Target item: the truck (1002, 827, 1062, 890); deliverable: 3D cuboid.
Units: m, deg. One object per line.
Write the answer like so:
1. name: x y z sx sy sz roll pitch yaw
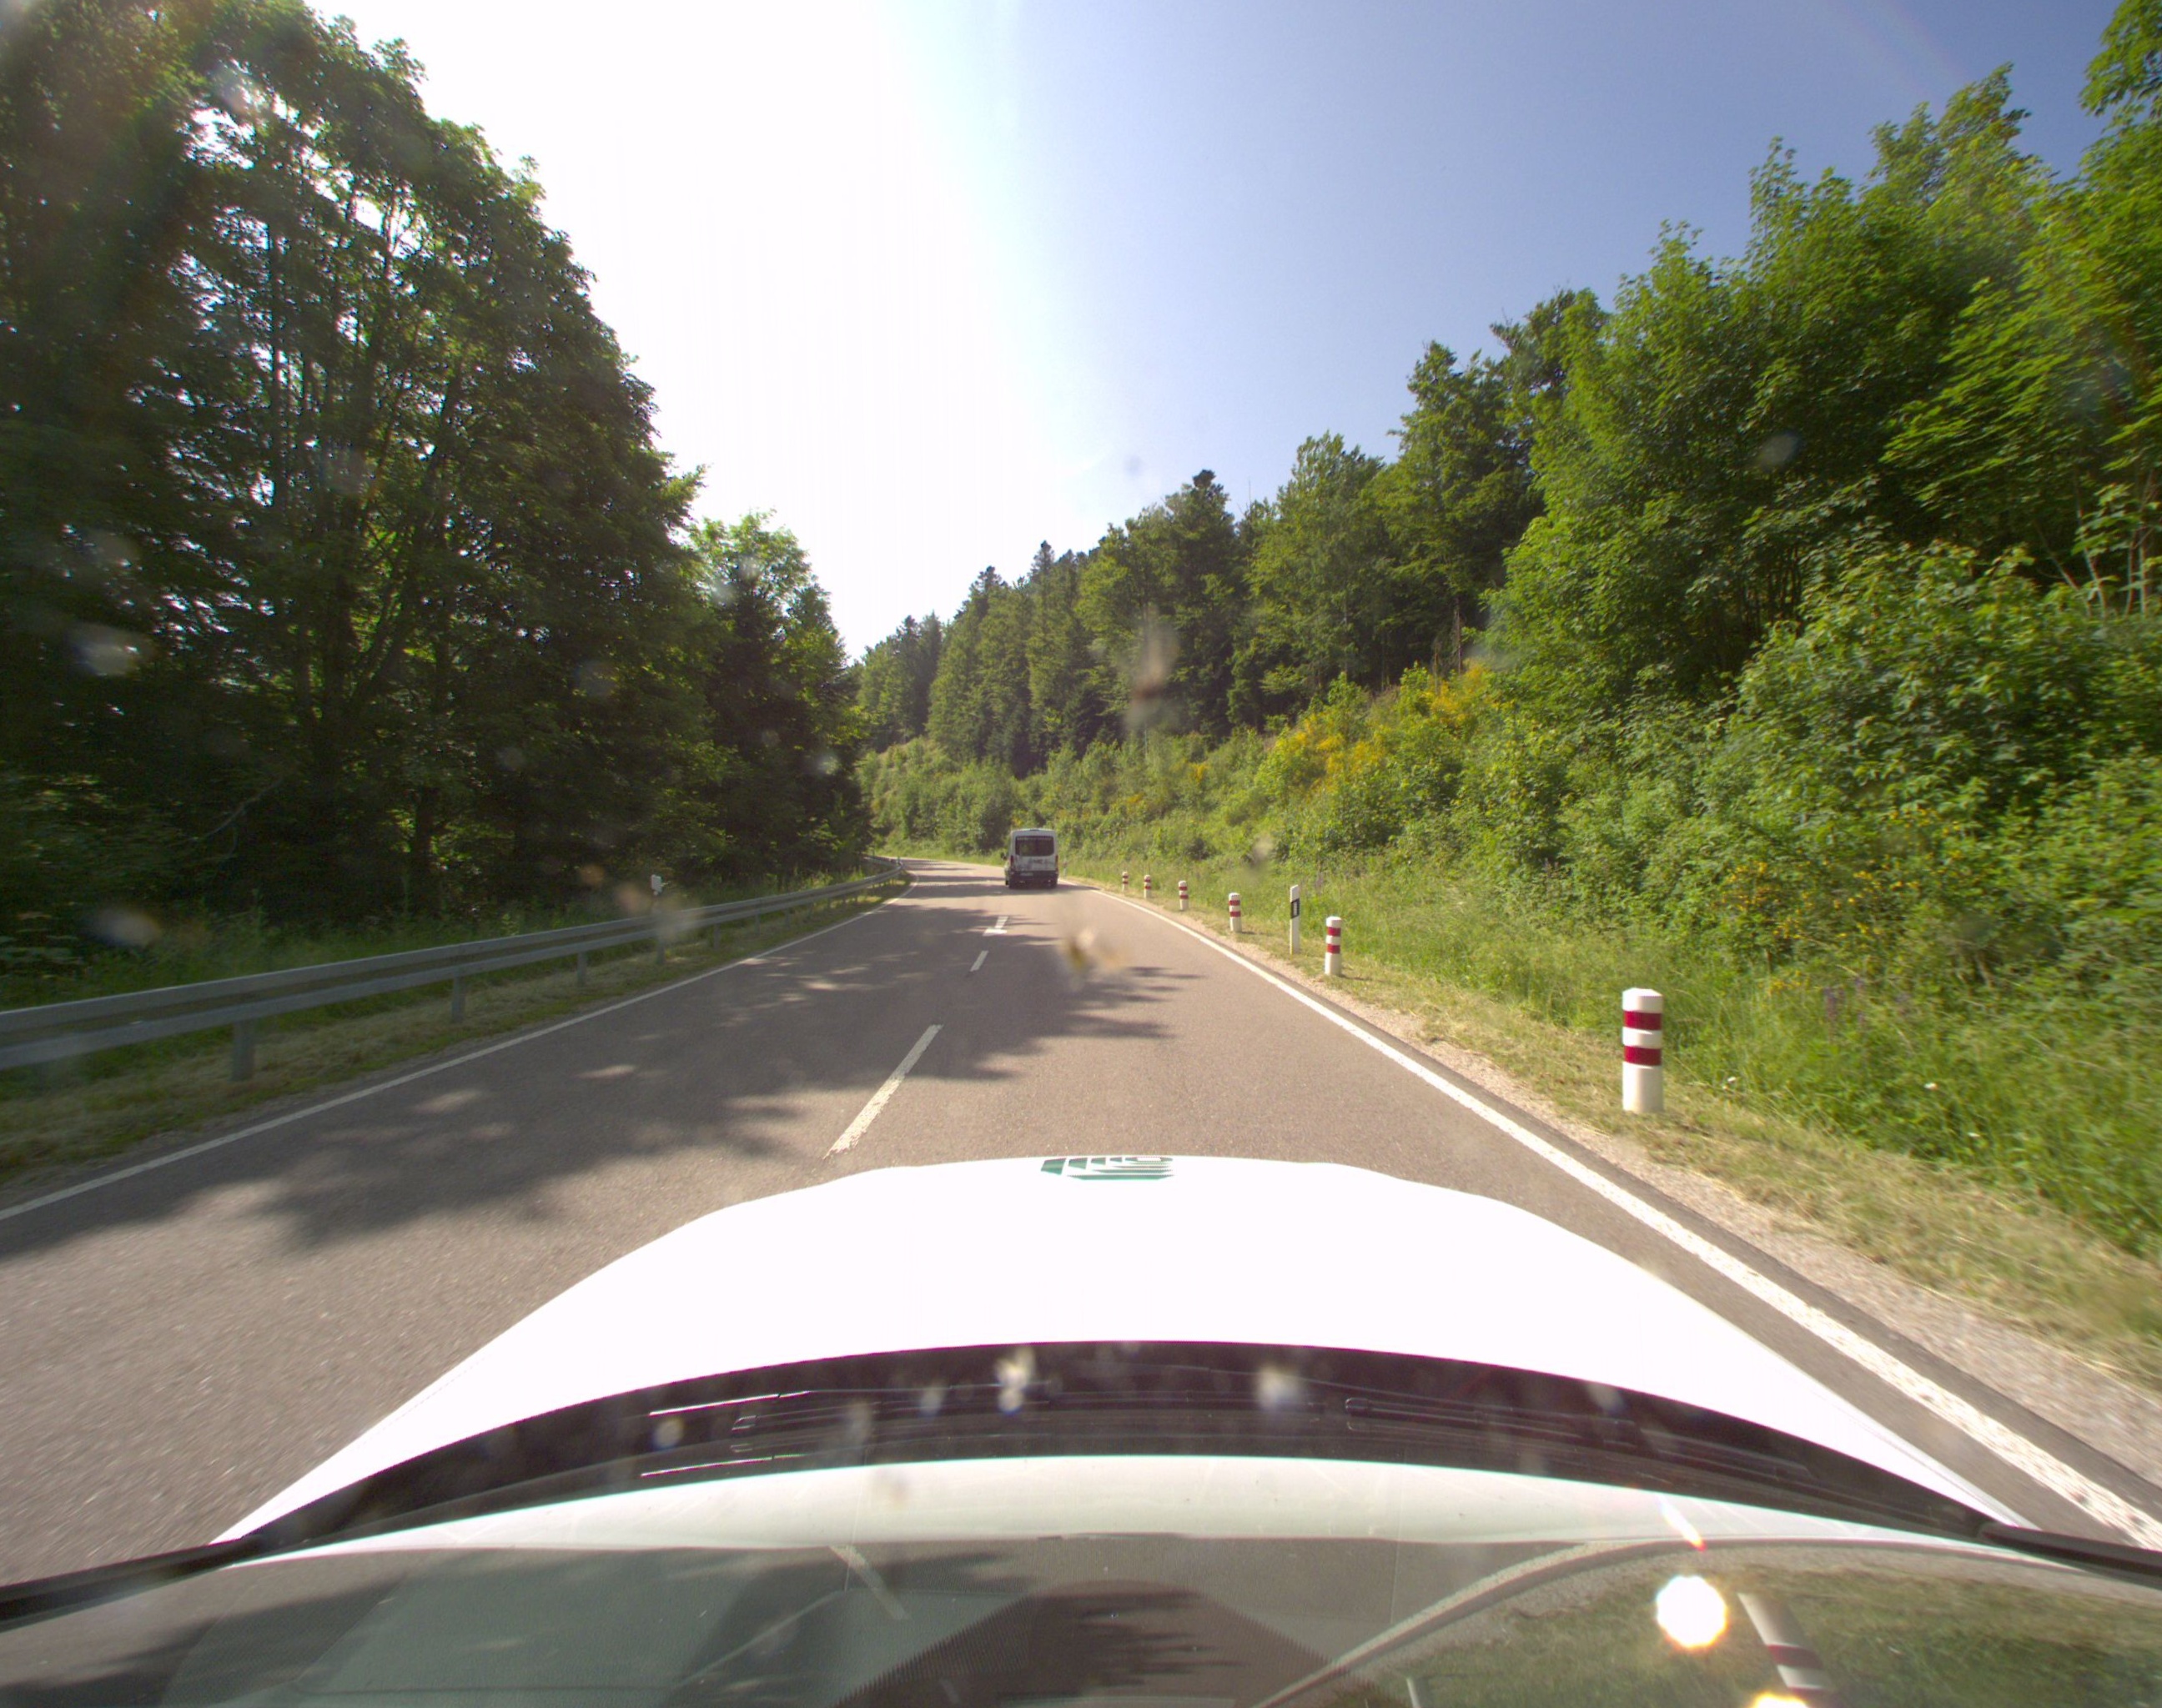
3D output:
1. truck: -2.214 0.144 35.400 2.115 2.498 5.343 -1 1 -9
